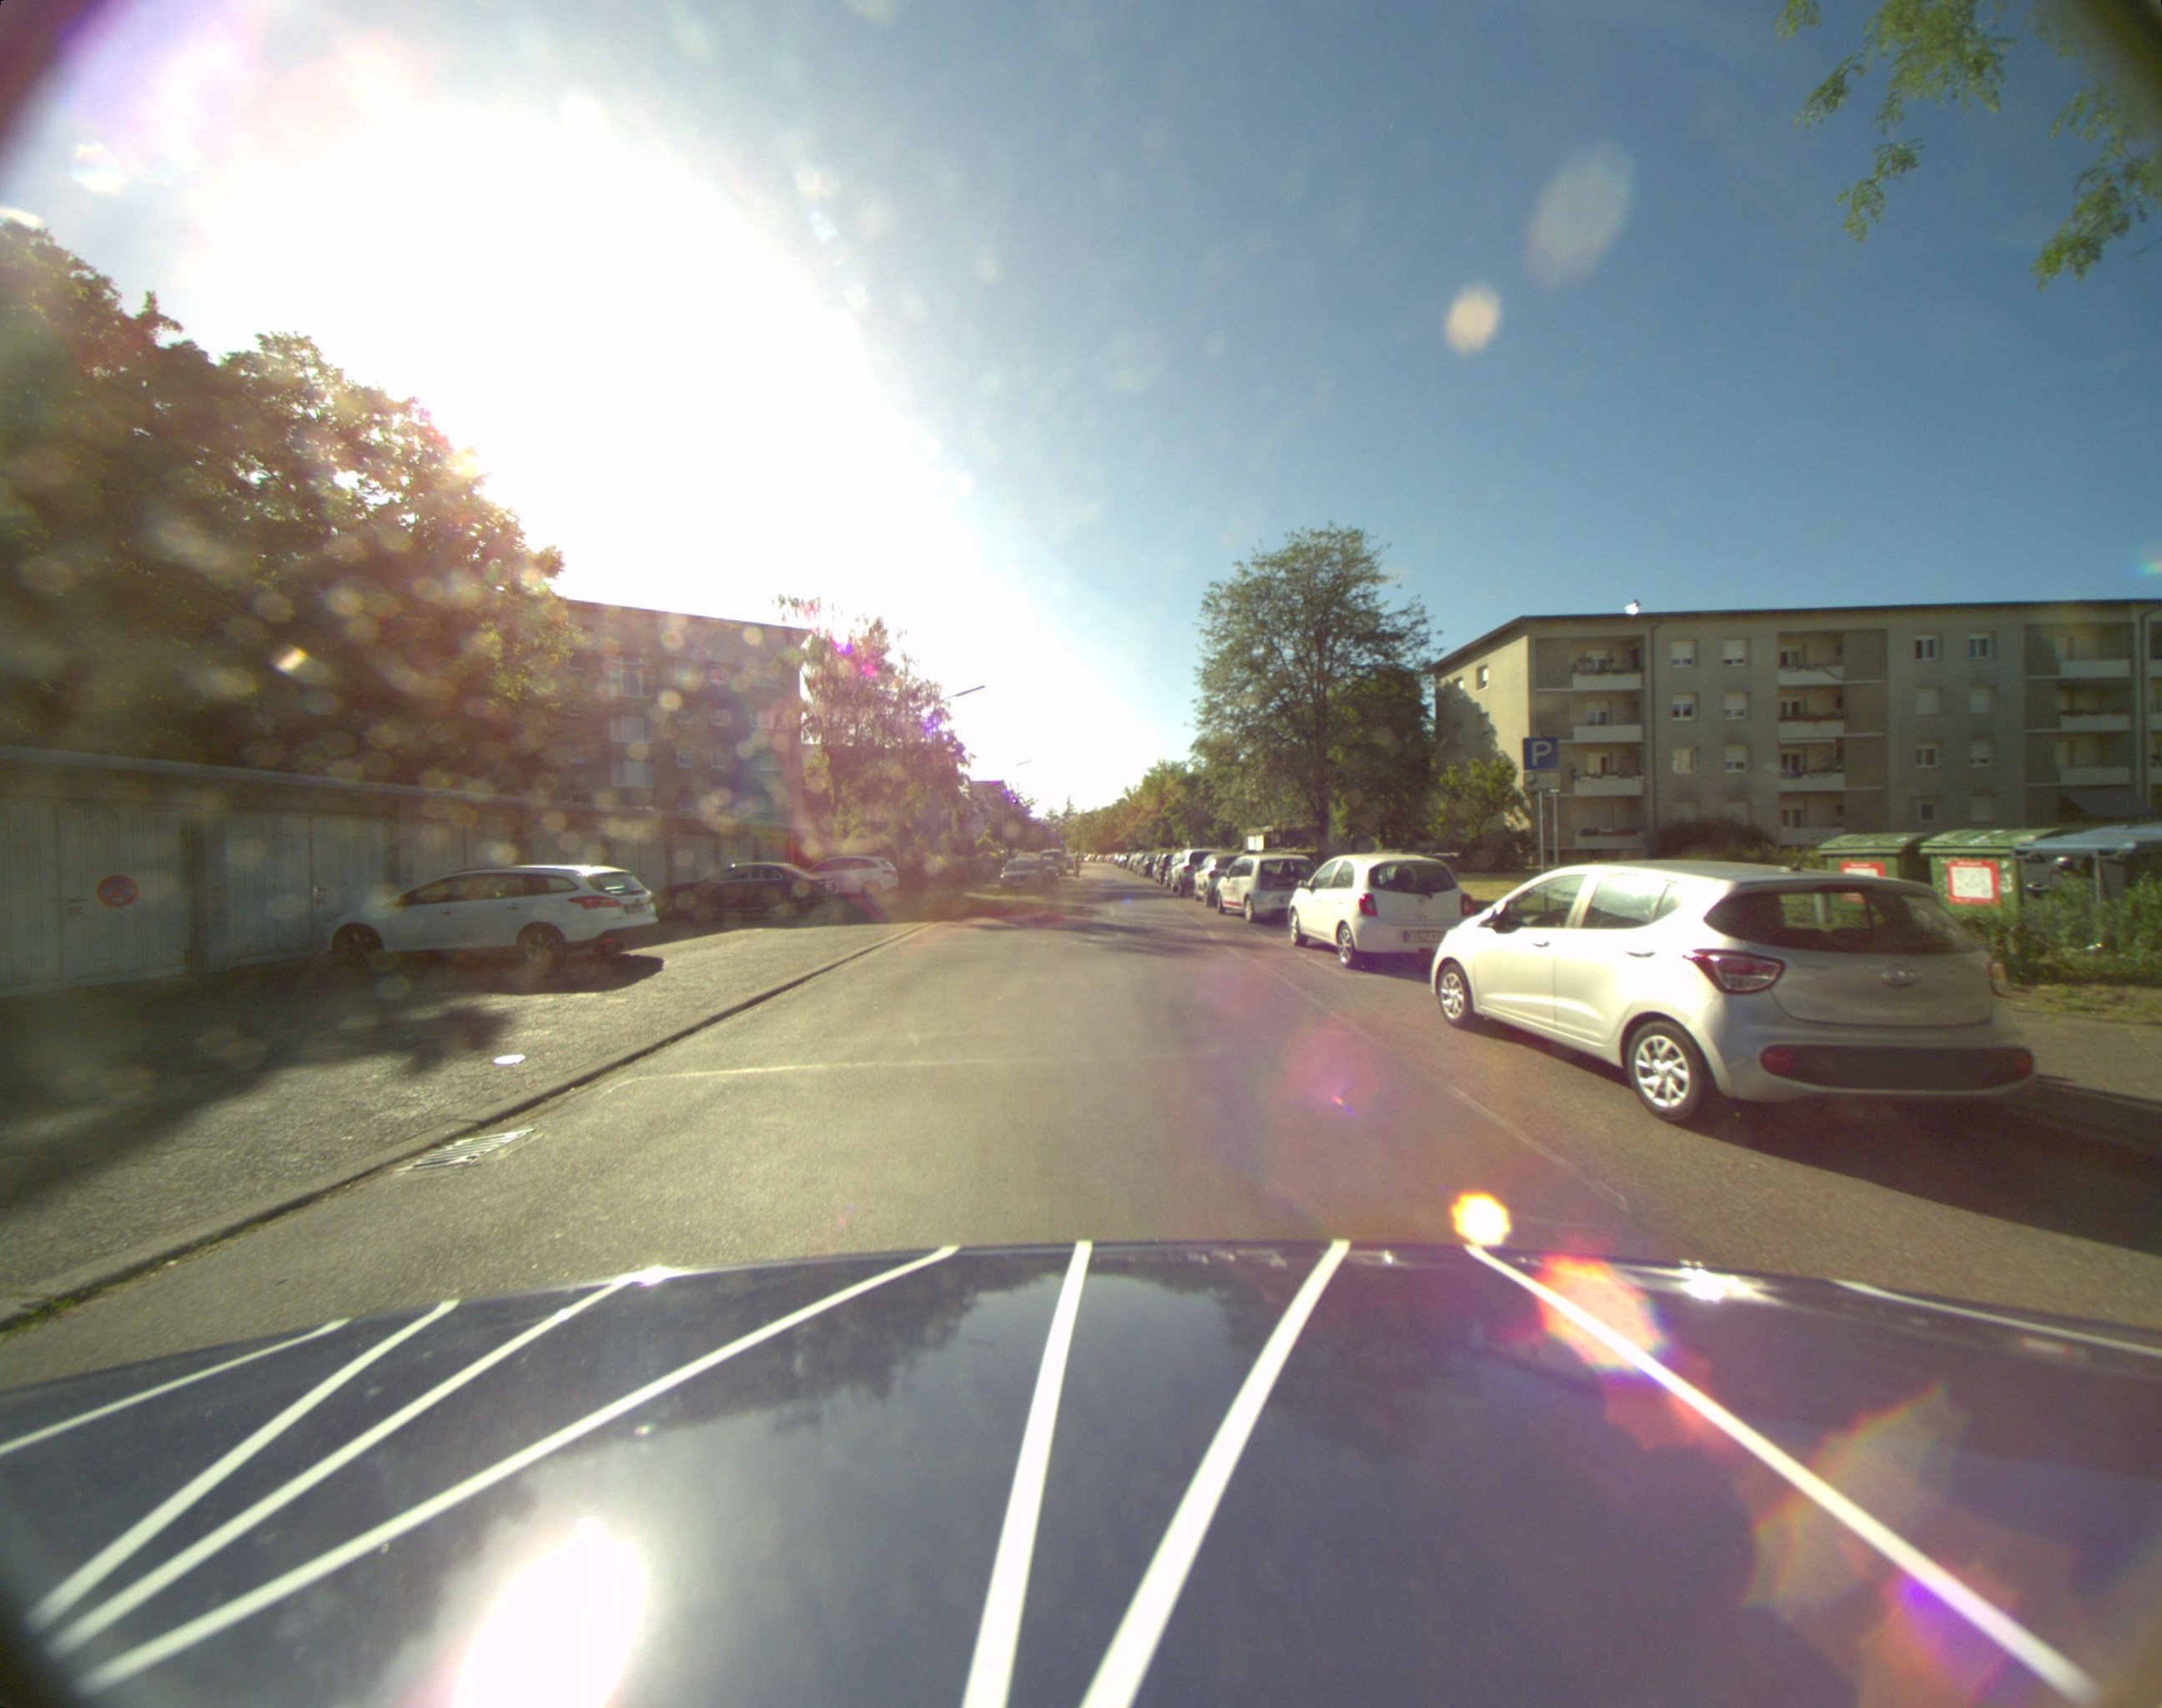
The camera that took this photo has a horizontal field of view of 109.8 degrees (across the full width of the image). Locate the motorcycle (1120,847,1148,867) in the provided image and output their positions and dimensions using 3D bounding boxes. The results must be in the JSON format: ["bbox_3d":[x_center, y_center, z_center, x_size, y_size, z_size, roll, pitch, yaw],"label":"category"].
[{"bbox_3d":[4.574,0.268,65.478,2.262,1.717,0.932,1,1,-2],"label":"motorcycle"}]

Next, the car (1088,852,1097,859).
[{"bbox_3d":[2.526,0.321,167.512,1.659,1.621,3.688,0,0,-7],"label":"car"}]

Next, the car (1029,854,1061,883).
[{"bbox_3d":[-2.049,0.803,44.392,1.736,1.481,4.500,-3,0,-1],"label":"car"}]

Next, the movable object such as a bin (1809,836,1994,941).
[{"bbox_3d":[12.396,0.492,11.559,1.180,1.412,1.462,-4,0,3],"label":"movable object such as a bin"}]

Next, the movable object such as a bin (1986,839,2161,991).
[{"bbox_3d":[10.955,0.584,8.013,1.137,1.412,1.361,-4,0,2],"label":"movable object such as a bin"}]

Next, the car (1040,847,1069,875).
[{"bbox_3d":[-1.948,0.497,56.836,1.857,1.923,4.704,-3,0,0],"label":"car"}]

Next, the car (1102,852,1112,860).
[{"bbox_3d":[5.154,0.420,148.885,1.658,1.470,3.104,0,0,-4],"label":"car"}]

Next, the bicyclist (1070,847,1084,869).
[{"bbox_3d":[-0.258,0.257,48.783,0.812,1.348,1.091,-2,1,2],"label":"bicyclist"}]

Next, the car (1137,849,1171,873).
[{"bbox_3d":[4.779,0.441,50.165,1.759,1.472,4.537,1,0,0],"label":"car"}]

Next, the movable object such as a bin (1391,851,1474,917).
[{"bbox_3d":[7.758,0.632,16.838,1.180,1.332,1.343,-4,0,2],"label":"movable object such as a bin"}]

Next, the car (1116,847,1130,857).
[{"bbox_3d":[5.875,-0.304,106.925,1.758,1.377,4.673,0,1,0],"label":"car"}]

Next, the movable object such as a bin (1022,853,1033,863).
[{"bbox_3d":[-7.371,0.564,104.577,1.328,1.423,1.029,-2,1,-5],"label":"movable object such as a bin"}]

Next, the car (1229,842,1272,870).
[{"bbox_3d":[10.237,0.110,46.130,1.574,1.516,3.999,-2,0,-1],"label":"car"}]

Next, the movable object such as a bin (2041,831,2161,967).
[{"bbox_3d":[12.272,0.478,8.485,1.180,1.412,1.462,-4,0,3],"label":"movable object such as a bin"}]

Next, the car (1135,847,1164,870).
[{"bbox_3d":[4.969,0.313,55.701,1.759,1.565,3.719,1,0,-1],"label":"car"}]

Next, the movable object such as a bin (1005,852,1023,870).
[{"bbox_3d":[-5.177,0.536,58.775,1.028,1.302,1.388,2,1,11],"label":"movable object such as a bin"}]

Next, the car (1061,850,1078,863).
[{"bbox_3d":[-1.385,0.270,92.921,1.808,1.486,3.795,-2,0,2],"label":"car"}]

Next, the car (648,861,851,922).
[{"bbox_3d":[-8.612,0.958,19.972,4.524,1.505,1.829,0,0,2],"label":"car"}]

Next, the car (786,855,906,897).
[{"bbox_3d":[-8.828,0.810,28.805,3.953,1.505,1.828,0,0,-2],"label":"car"}]

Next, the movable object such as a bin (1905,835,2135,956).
[{"bbox_3d":[12.350,0.510,10.087,1.180,1.412,1.462,-4,0,3],"label":"movable object such as a bin"}]

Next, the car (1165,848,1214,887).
[{"bbox_3d":[4.675,0.564,33.235,1.640,1.597,3.534,0,0,0],"label":"car"}]

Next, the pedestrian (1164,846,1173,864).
[{"bbox_3d":[8.109,0.125,70.654,0.722,1.669,0.600,-2,1,1],"label":"pedestrian"}]

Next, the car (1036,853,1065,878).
[{"bbox_3d":[-1.985,0.723,50.257,1.627,1.481,4.036,-3,0,0],"label":"car"}]

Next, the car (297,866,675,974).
[{"bbox_3d":[-9.014,0.961,11.788,4.426,1.505,1.829,0,0,1],"label":"car"}]

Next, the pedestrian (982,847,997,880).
[{"bbox_3d":[-5.221,0.541,43.477,0.705,1.877,0.872,1,1,2],"label":"pedestrian"}]

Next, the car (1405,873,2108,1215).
[{"bbox_3d":[4.042,0.954,5.532,1.691,1.497,3.817,-1,0,-1],"label":"car"}]

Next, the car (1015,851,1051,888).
[{"bbox_3d":[-2.345,0.717,37.417,1.492,1.708,2.583,-3,0,0],"label":"car"}]

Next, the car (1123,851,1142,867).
[{"bbox_3d":[5.347,0.481,79.154,1.758,1.626,4.370,1,0,1],"label":"car"}]

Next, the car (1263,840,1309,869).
[{"bbox_3d":[12.187,0.027,45.374,1.574,1.631,3.999,-2,0,-1],"label":"car"}]

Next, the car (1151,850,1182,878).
[{"bbox_3d":[4.958,0.538,44.330,1.448,1.565,3.142,1,0,0],"label":"car"}]

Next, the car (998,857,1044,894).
[{"bbox_3d":[-2.562,0.882,33.073,1.736,1.395,3.894,-3,0,-1],"label":"car"}]

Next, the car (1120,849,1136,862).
[{"bbox_3d":[5.251,0.176,85.814,1.758,1.417,4.210,1,1,3],"label":"car"}]

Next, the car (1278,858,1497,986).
[{"bbox_3d":[4.268,0.848,11.277,1.691,1.526,3.890,0,0,0],"label":"car"}]

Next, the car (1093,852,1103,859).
[{"bbox_3d":[3.621,0.308,161.335,1.658,1.621,4.070,0,0,-5],"label":"car"}]

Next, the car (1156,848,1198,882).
[{"bbox_3d":[4.855,0.534,38.858,1.758,1.597,3.969,1,0,2],"label":"car"}]

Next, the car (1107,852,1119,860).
[{"bbox_3d":[5.708,0.342,136.717,1.811,1.470,3.939,0,0,-2],"label":"car"}]

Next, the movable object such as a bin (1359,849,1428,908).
[{"bbox_3d":[7.979,0.605,19.502,1.139,1.374,1.442,-4,0,2],"label":"movable object such as a bin"}]

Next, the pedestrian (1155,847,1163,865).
[{"bbox_3d":[7.258,0.161,70.703,0.722,1.669,0.616,-2,1,1],"label":"pedestrian"}]

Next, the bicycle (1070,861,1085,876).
[{"bbox_3d":[-0.228,0.952,48.965,0.824,0.896,2.203,-2,0,2],"label":"bicycle"}]

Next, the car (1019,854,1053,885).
[{"bbox_3d":[-2.350,0.780,40.214,1.418,1.514,2.558,-3,0,5],"label":"car"}]

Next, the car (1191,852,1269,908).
[{"bbox_3d":[4.317,0.704,22.564,1.666,1.504,3.946,0,0,2],"label":"car"}]

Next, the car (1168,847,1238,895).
[{"bbox_3d":[4.358,0.562,27.686,1.908,1.630,4.349,0,0,1],"label":"car"}]

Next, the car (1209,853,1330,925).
[{"bbox_3d":[4.282,0.728,17.792,1.667,1.504,3.536,0,0,-5],"label":"car"}]

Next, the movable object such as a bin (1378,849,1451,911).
[{"bbox_3d":[7.919,0.603,18.118,1.139,1.350,1.243,-4,0,2],"label":"movable object such as a bin"}]
